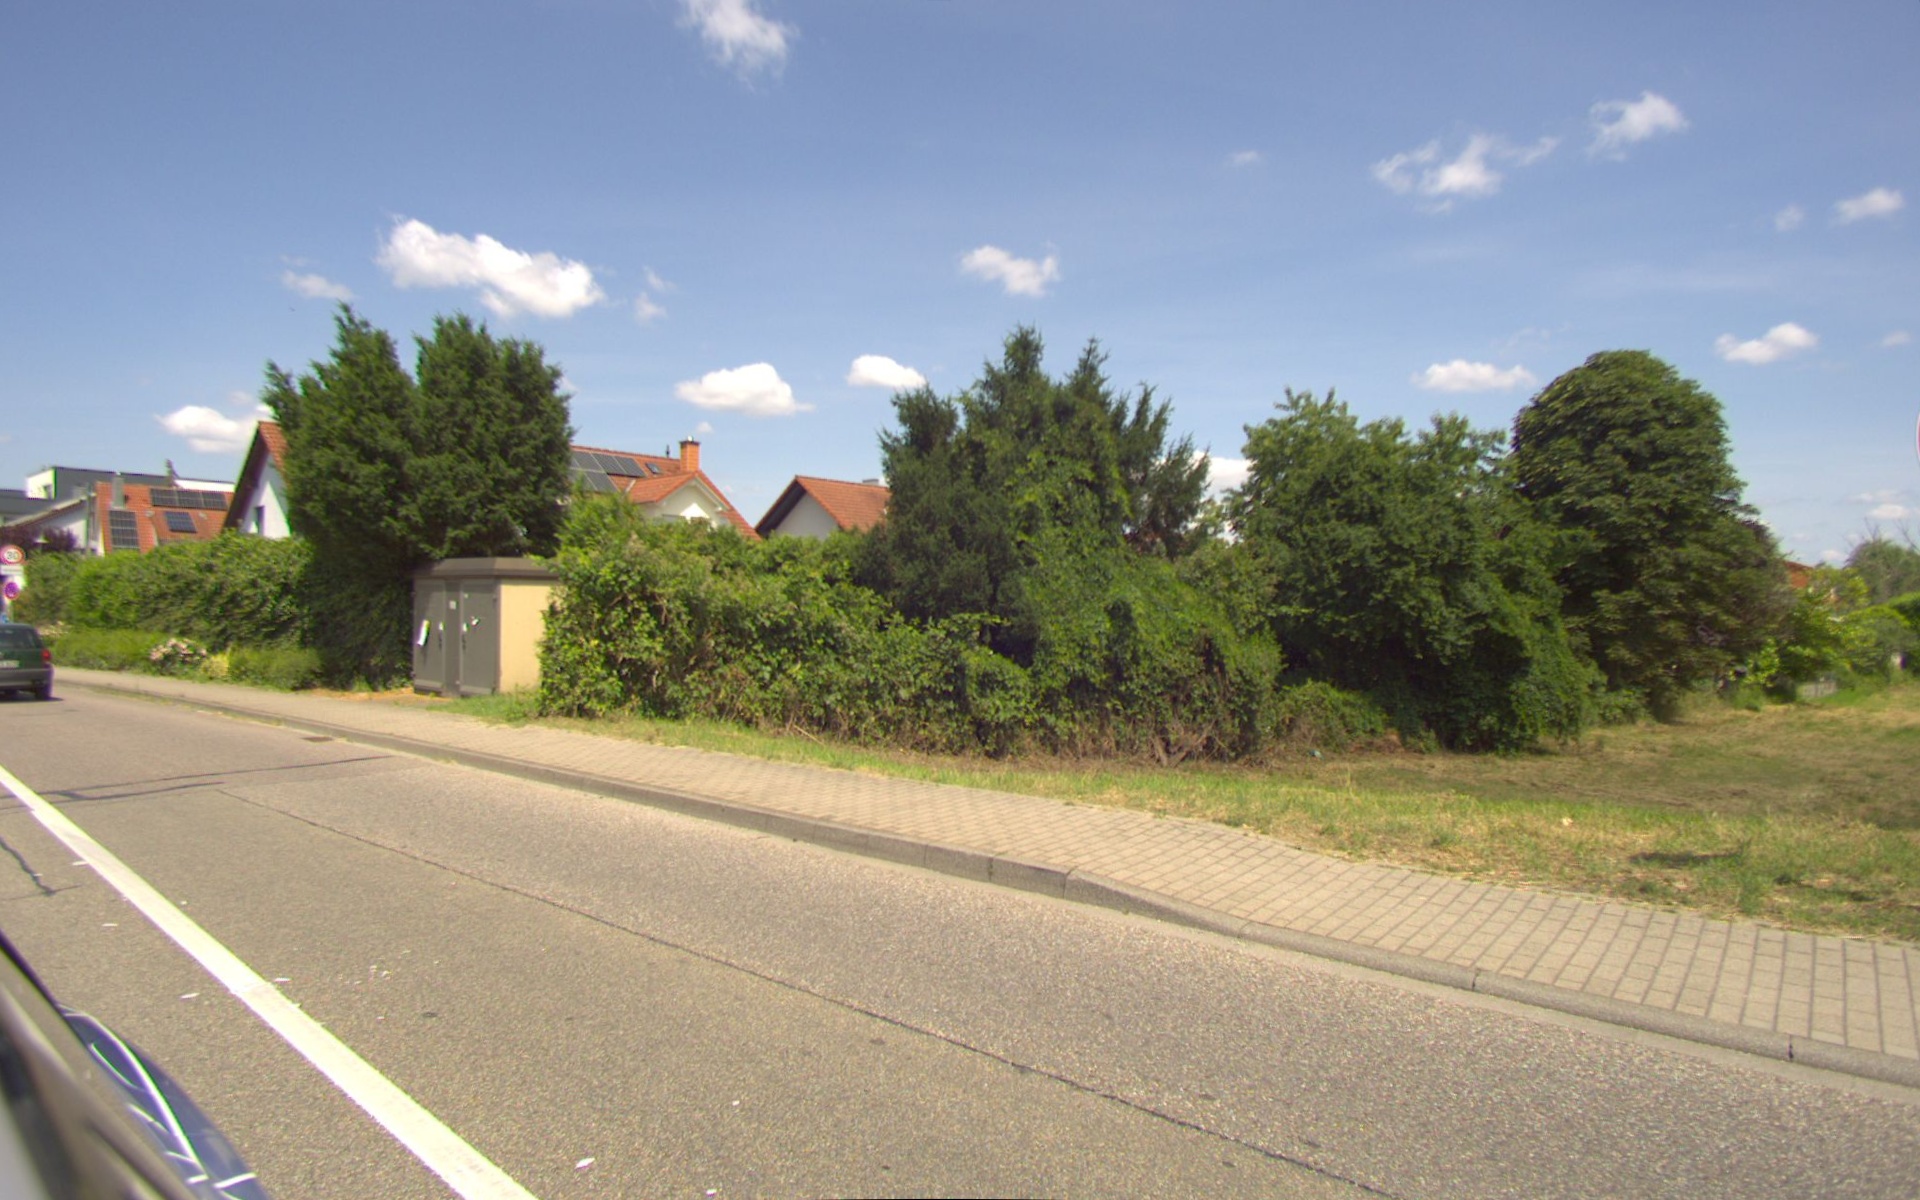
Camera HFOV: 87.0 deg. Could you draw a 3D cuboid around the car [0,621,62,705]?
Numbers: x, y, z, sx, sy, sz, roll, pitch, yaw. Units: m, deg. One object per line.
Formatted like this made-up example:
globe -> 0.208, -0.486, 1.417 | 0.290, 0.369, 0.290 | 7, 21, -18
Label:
car -> -17.941, 1.099, 18.400 | 3.867, 1.444, 1.763 | -1, -2, 39
